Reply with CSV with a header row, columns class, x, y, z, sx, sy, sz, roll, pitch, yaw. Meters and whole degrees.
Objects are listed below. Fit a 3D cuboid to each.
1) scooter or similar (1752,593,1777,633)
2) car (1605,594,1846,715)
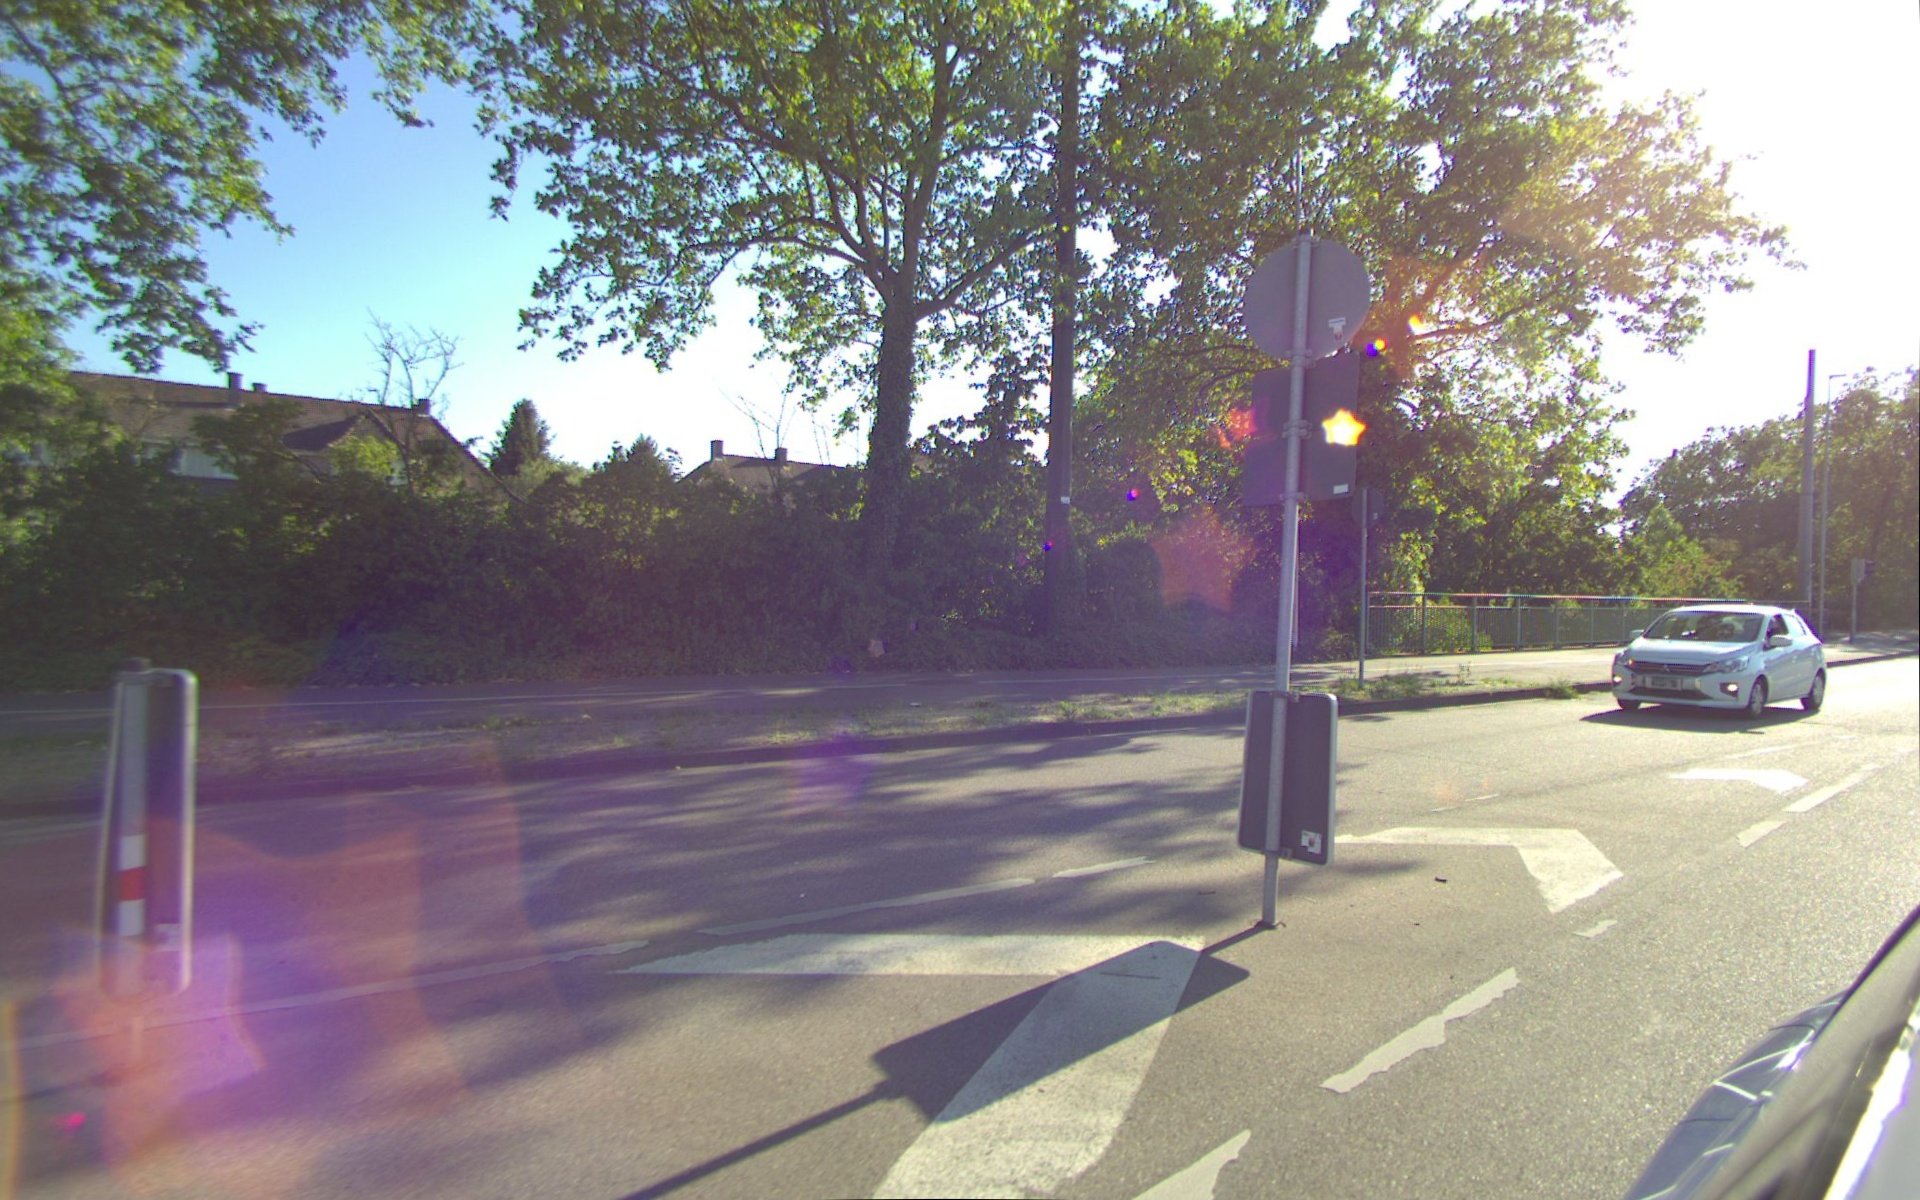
class,x,y,z,sx,sy,sz,roll,pitch,yaw
scooter or similar,26.811,0.418,33.727,1.063,1.291,0.427,0,1,-39
car,10.878,0.674,14.328,3.673,1.492,1.672,0,0,-35
